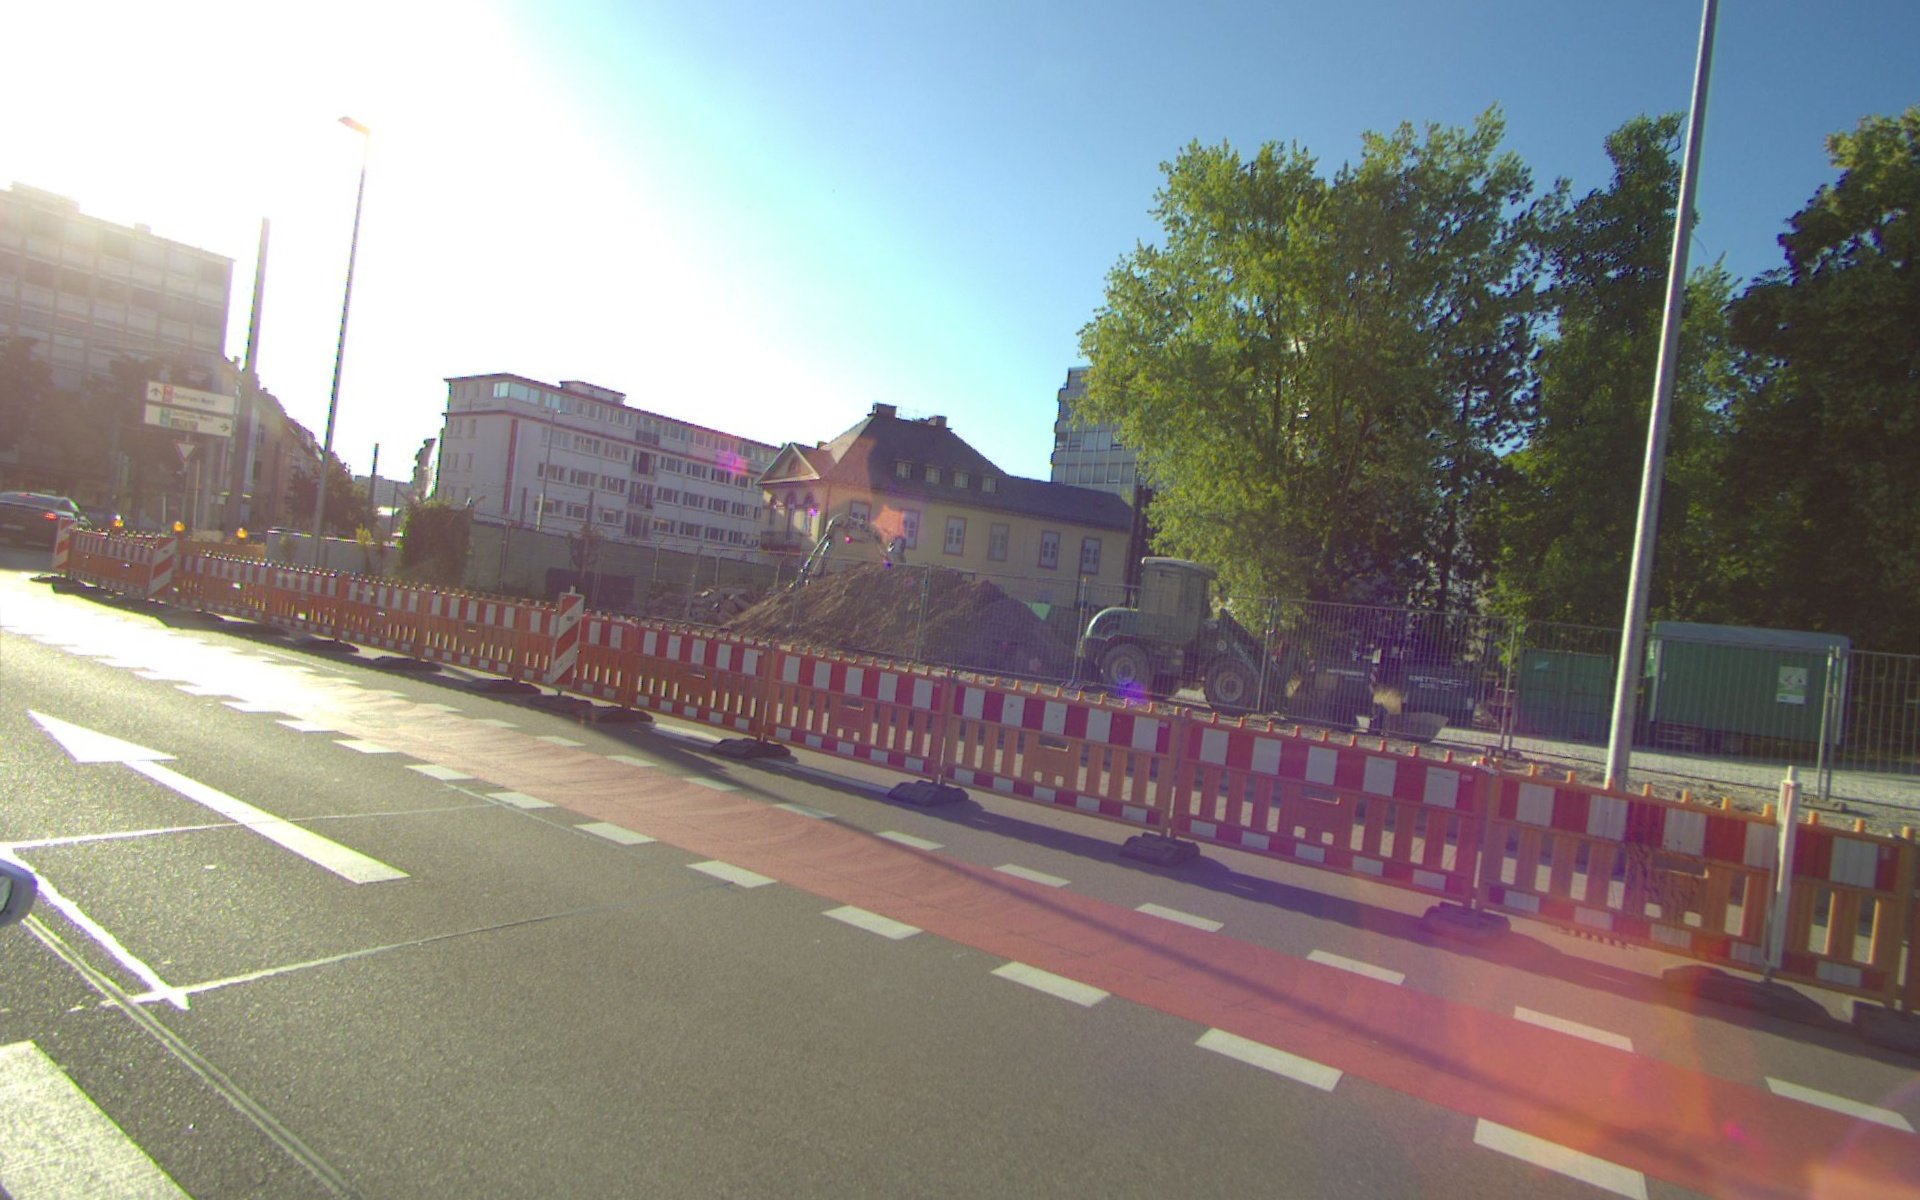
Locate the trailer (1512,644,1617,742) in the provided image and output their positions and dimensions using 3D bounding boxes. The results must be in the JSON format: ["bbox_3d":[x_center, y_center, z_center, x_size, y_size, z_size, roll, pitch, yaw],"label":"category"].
[{"bbox_3d":[15.893,2.404,26.607,2.187,2.350,2.951,1,-2,28],"label":"trailer"}]

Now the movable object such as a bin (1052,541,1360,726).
[{"bbox_3d":[4.545,0.566,18.793,4.860,2.737,2.278,7,0,32],"label":"movable object such as a bin"}]

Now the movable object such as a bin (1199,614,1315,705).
[{"bbox_3d":[8.711,1.712,29.170,2.187,2.350,5.039,1,-3,28],"label":"movable object such as a bin"}]

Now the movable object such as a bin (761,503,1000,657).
[{"bbox_3d":[-2.276,-0.516,29.334,6.020,3.601,2.837,7,0,-33],"label":"movable object such as a bin"}]

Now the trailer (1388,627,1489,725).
[{"bbox_3d":[13.082,2.028,27.314,2.187,2.350,5.039,1,-3,28],"label":"trailer"}]

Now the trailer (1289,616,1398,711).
[{"bbox_3d":[10.827,1.765,28.153,2.187,2.350,5.039,1,-3,28],"label":"trailer"}]

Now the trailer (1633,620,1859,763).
[{"bbox_3d":[18.985,2.133,24.596,3.920,3.127,2.613,1,-2,29],"label":"trailer"}]

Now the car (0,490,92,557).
[{"bbox_3d":[-28.824,-2.408,31.327,1.982,1.713,3.964,9,-1,-33],"label":"car"}]

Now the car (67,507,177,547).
[{"bbox_3d":[-47.332,-4.121,56.927,1.968,1.616,4.334,7,0,33],"label":"car"}]

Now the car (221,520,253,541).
[{"bbox_3d":[-58.725,-5.654,81.712,1.982,1.415,3.960,6,0,-36],"label":"car"}]
